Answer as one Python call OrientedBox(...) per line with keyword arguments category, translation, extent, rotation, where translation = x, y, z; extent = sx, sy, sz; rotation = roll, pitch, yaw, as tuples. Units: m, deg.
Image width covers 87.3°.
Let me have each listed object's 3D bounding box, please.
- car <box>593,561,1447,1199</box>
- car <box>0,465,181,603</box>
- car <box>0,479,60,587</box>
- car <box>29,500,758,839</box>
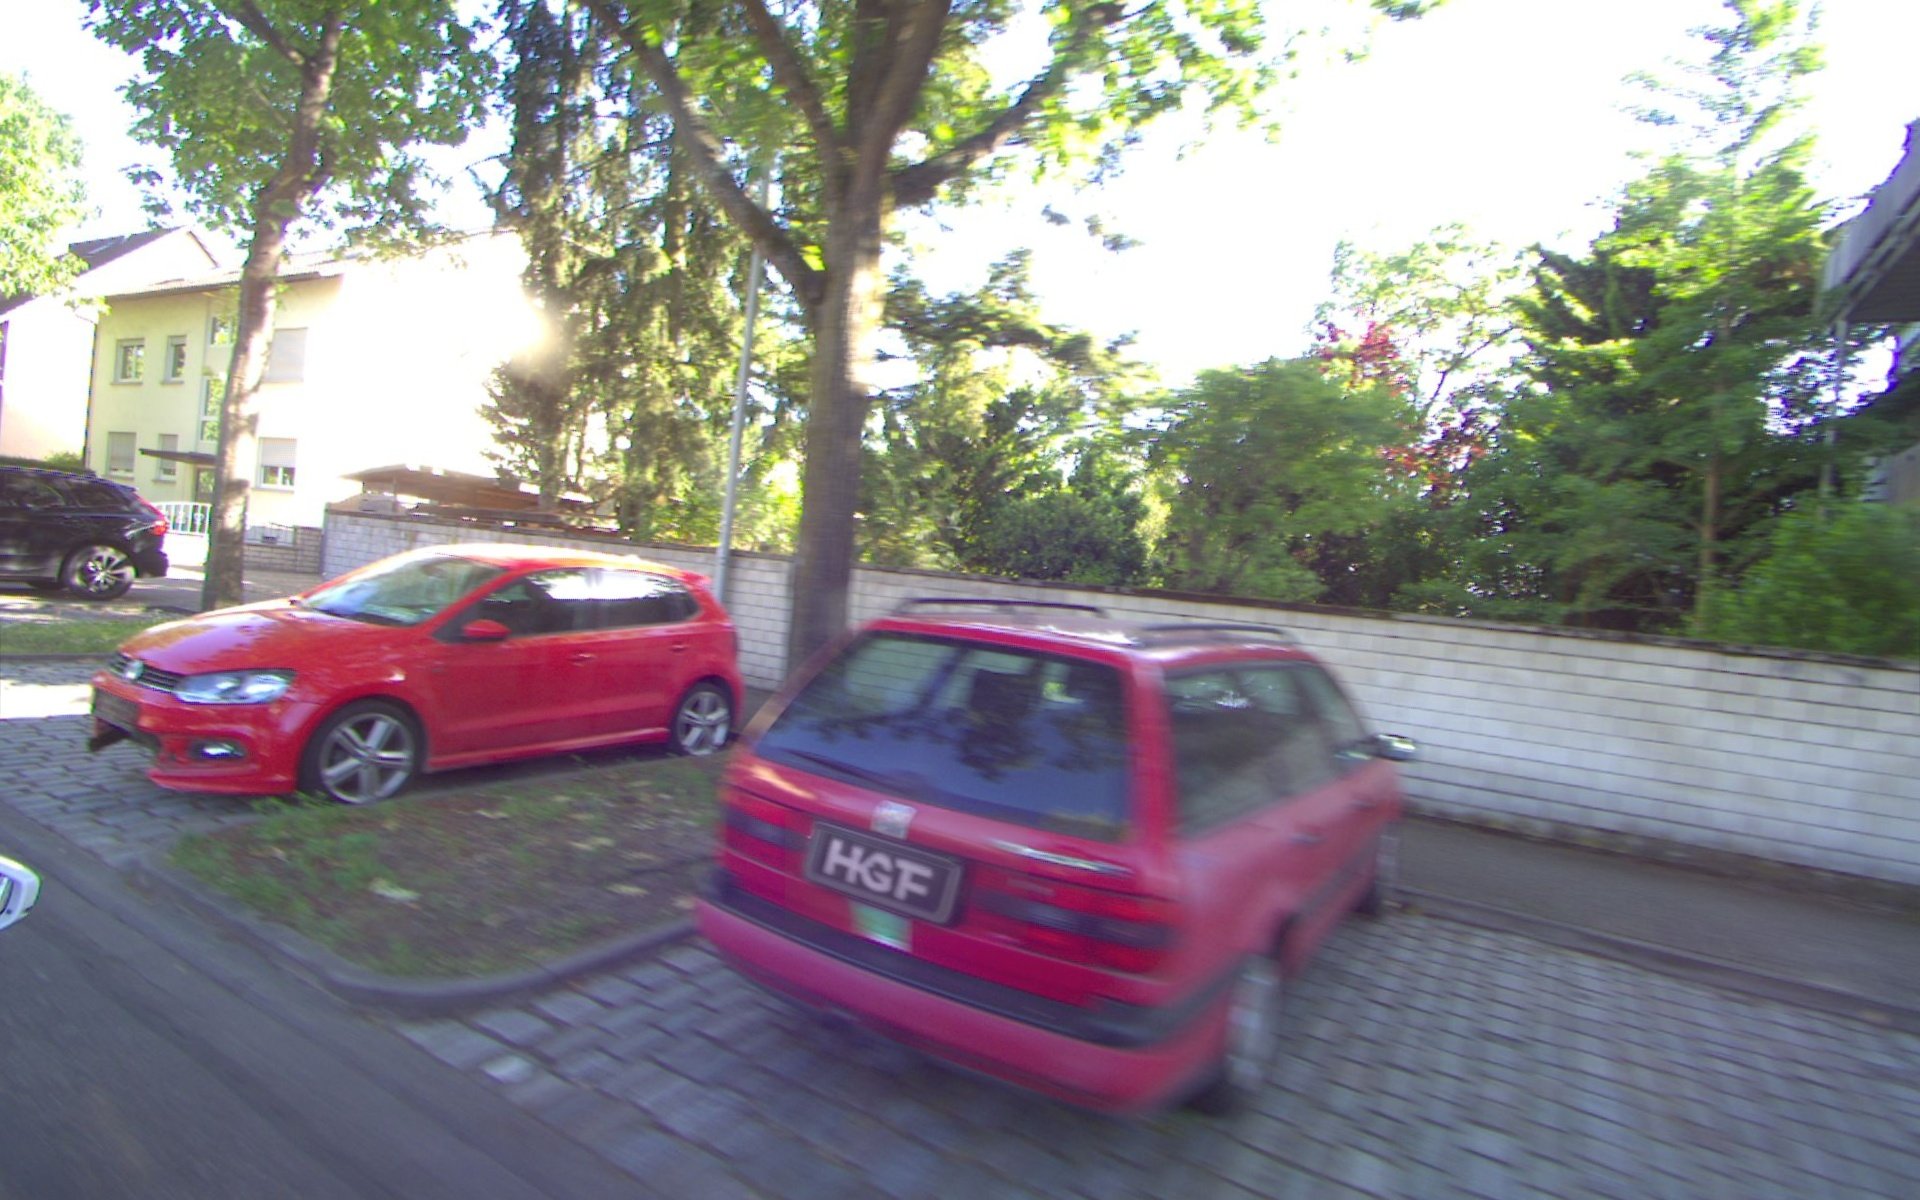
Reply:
OrientedBox(category="car", translation=(0.866, 0.772, 4.511), extent=(1.807, 1.465, 4.504), rotation=(7, 2, 31))
OrientedBox(category="car", translation=(-12.881, -0.936, 12.577), extent=(1.807, 1.668, 4.576), rotation=(7, 2, 30))
OrientedBox(category="car", translation=(-15.538, -1.122, 13.844), extent=(1.809, 1.550, 4.323), rotation=(7, 2, 29))
OrientedBox(category="car", translation=(-3.325, 0.341, 6.633), extent=(1.727, 1.503, 3.779), rotation=(5, 1, 31))
